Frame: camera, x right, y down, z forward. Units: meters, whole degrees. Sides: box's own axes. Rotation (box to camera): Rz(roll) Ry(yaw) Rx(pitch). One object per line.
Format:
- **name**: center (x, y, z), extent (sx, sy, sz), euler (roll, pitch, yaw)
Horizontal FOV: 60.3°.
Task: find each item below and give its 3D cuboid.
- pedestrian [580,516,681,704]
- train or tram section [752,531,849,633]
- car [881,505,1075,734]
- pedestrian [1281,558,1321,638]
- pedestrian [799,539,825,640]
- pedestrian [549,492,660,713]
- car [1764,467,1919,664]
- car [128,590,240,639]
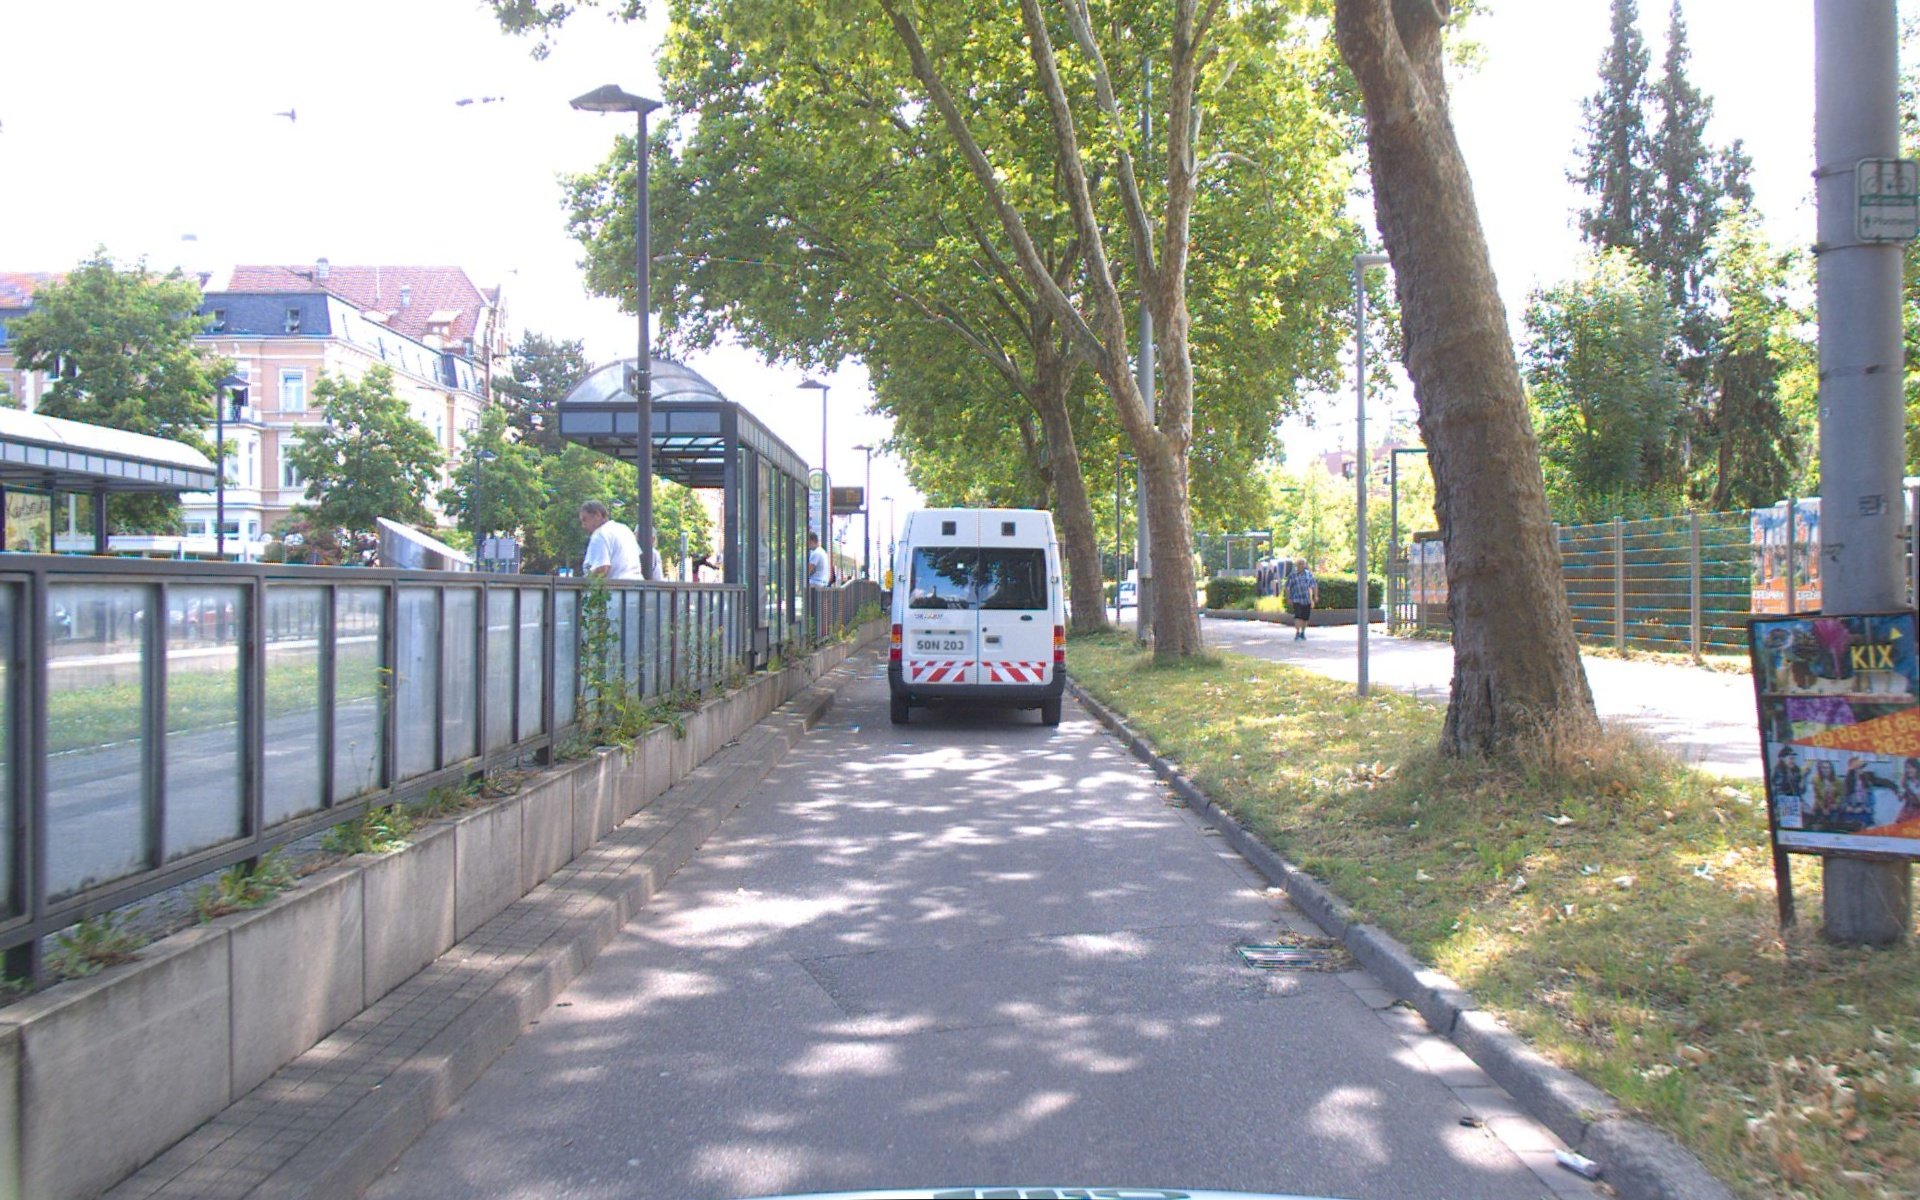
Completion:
- **pedestrian**: center (-2.562, 0.071, 12.920), extent (0.662, 1.427, 0.596), euler (-1, 0, -1)
- **train or tram section**: center (-6.168, -0.684, 66.074), extent (2.668, 3.647, 13.015), euler (0, 0, 0)
- **car**: center (0.113, 0.163, 19.547), extent (2.006, 2.373, 4.713), euler (0, 1, -2)
- **pedestrian**: center (7.153, -0.040, 34.708), extent (0.679, 1.654, 0.637), euler (0, 0, -1)
- **pedestrian**: center (-2.406, -0.166, 26.881), extent (0.377, 1.619, 0.439), euler (-1, 0, -1)
- **pedestrian**: center (-2.549, 0.015, 11.898), extent (0.662, 1.542, 0.596), euler (-1, 0, -1)
- **car**: center (14.505, -0.504, 25.869), extent (1.770, 2.823, 4.278), euler (0, 0, 0)
- **car**: center (-22.895, 0.401, 48.905), extent (1.684, 1.395, 3.477), euler (-1, 0, -1)
